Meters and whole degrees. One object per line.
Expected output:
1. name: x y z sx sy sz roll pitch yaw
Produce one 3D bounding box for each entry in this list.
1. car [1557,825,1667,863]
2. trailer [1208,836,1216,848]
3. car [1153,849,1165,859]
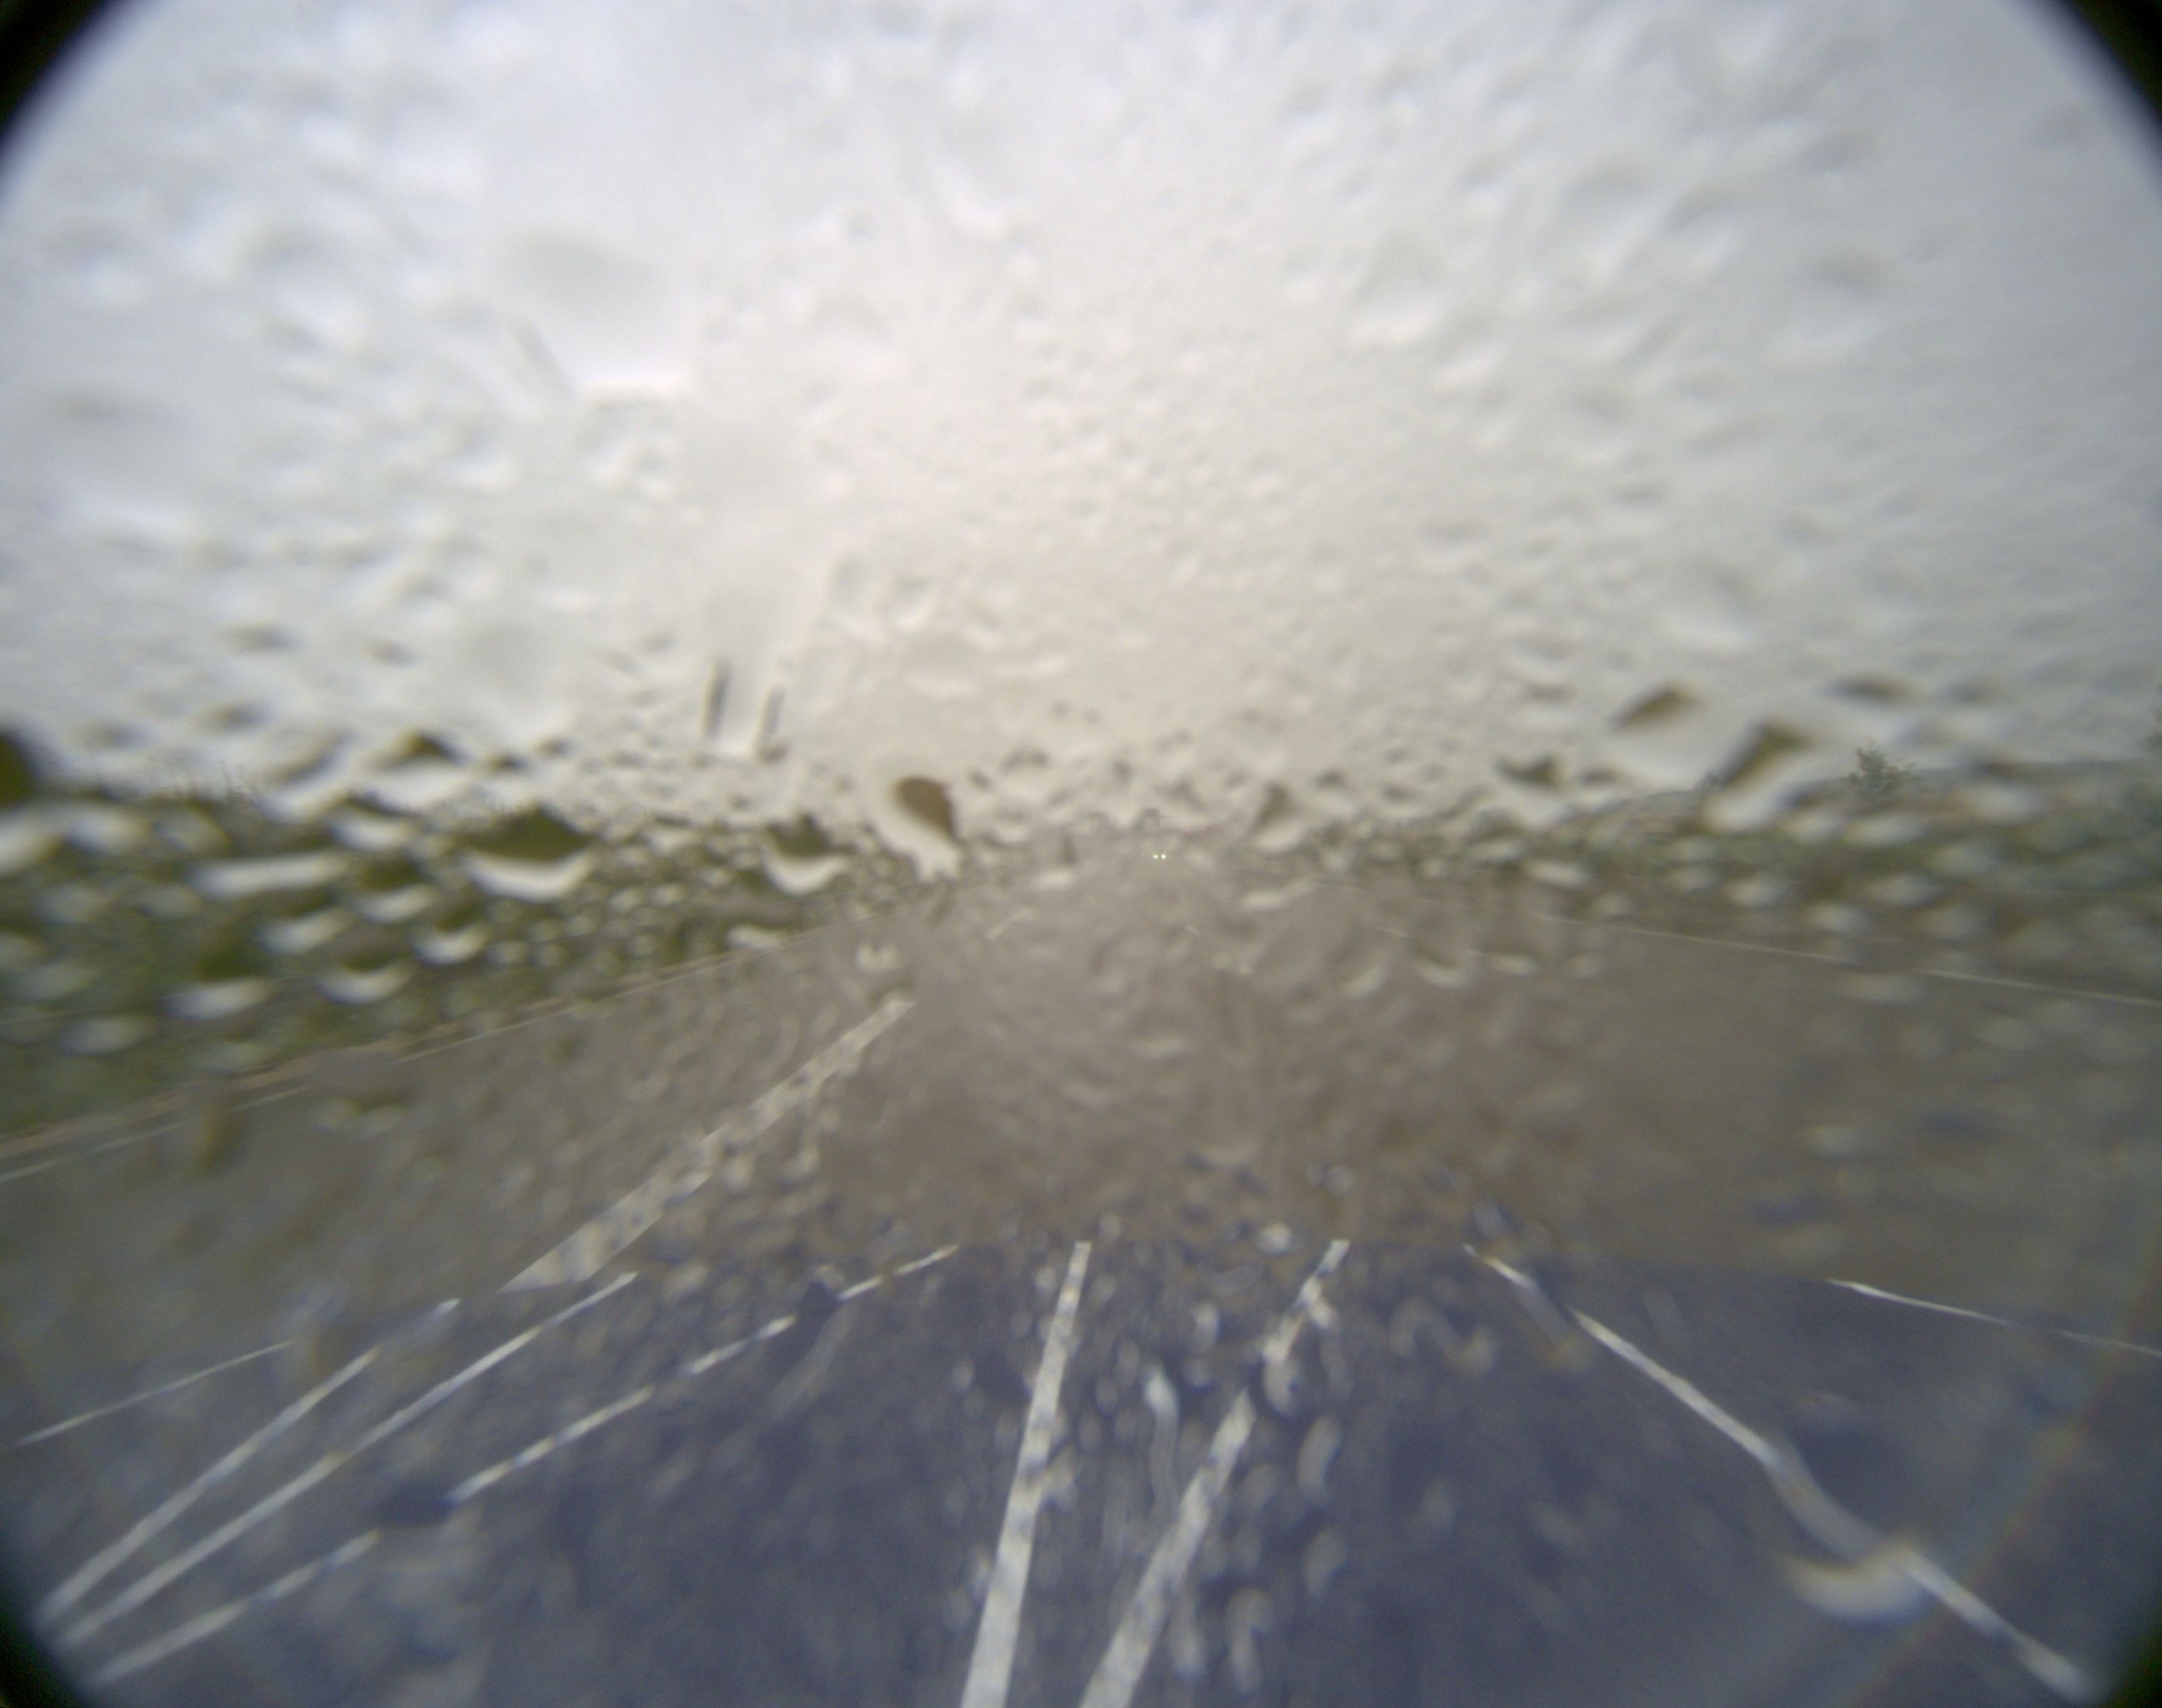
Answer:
1. car: 23.079 -0.420 33.232 1.998 1.477 4.000 -3 1 1
2. trailer: 44.874 -3.981 260.651 1.997 4.016 14.308 -2 0 6
3. car: 13.117 -0.018 128.018 1.700 1.543 3.734 -3 1 4
